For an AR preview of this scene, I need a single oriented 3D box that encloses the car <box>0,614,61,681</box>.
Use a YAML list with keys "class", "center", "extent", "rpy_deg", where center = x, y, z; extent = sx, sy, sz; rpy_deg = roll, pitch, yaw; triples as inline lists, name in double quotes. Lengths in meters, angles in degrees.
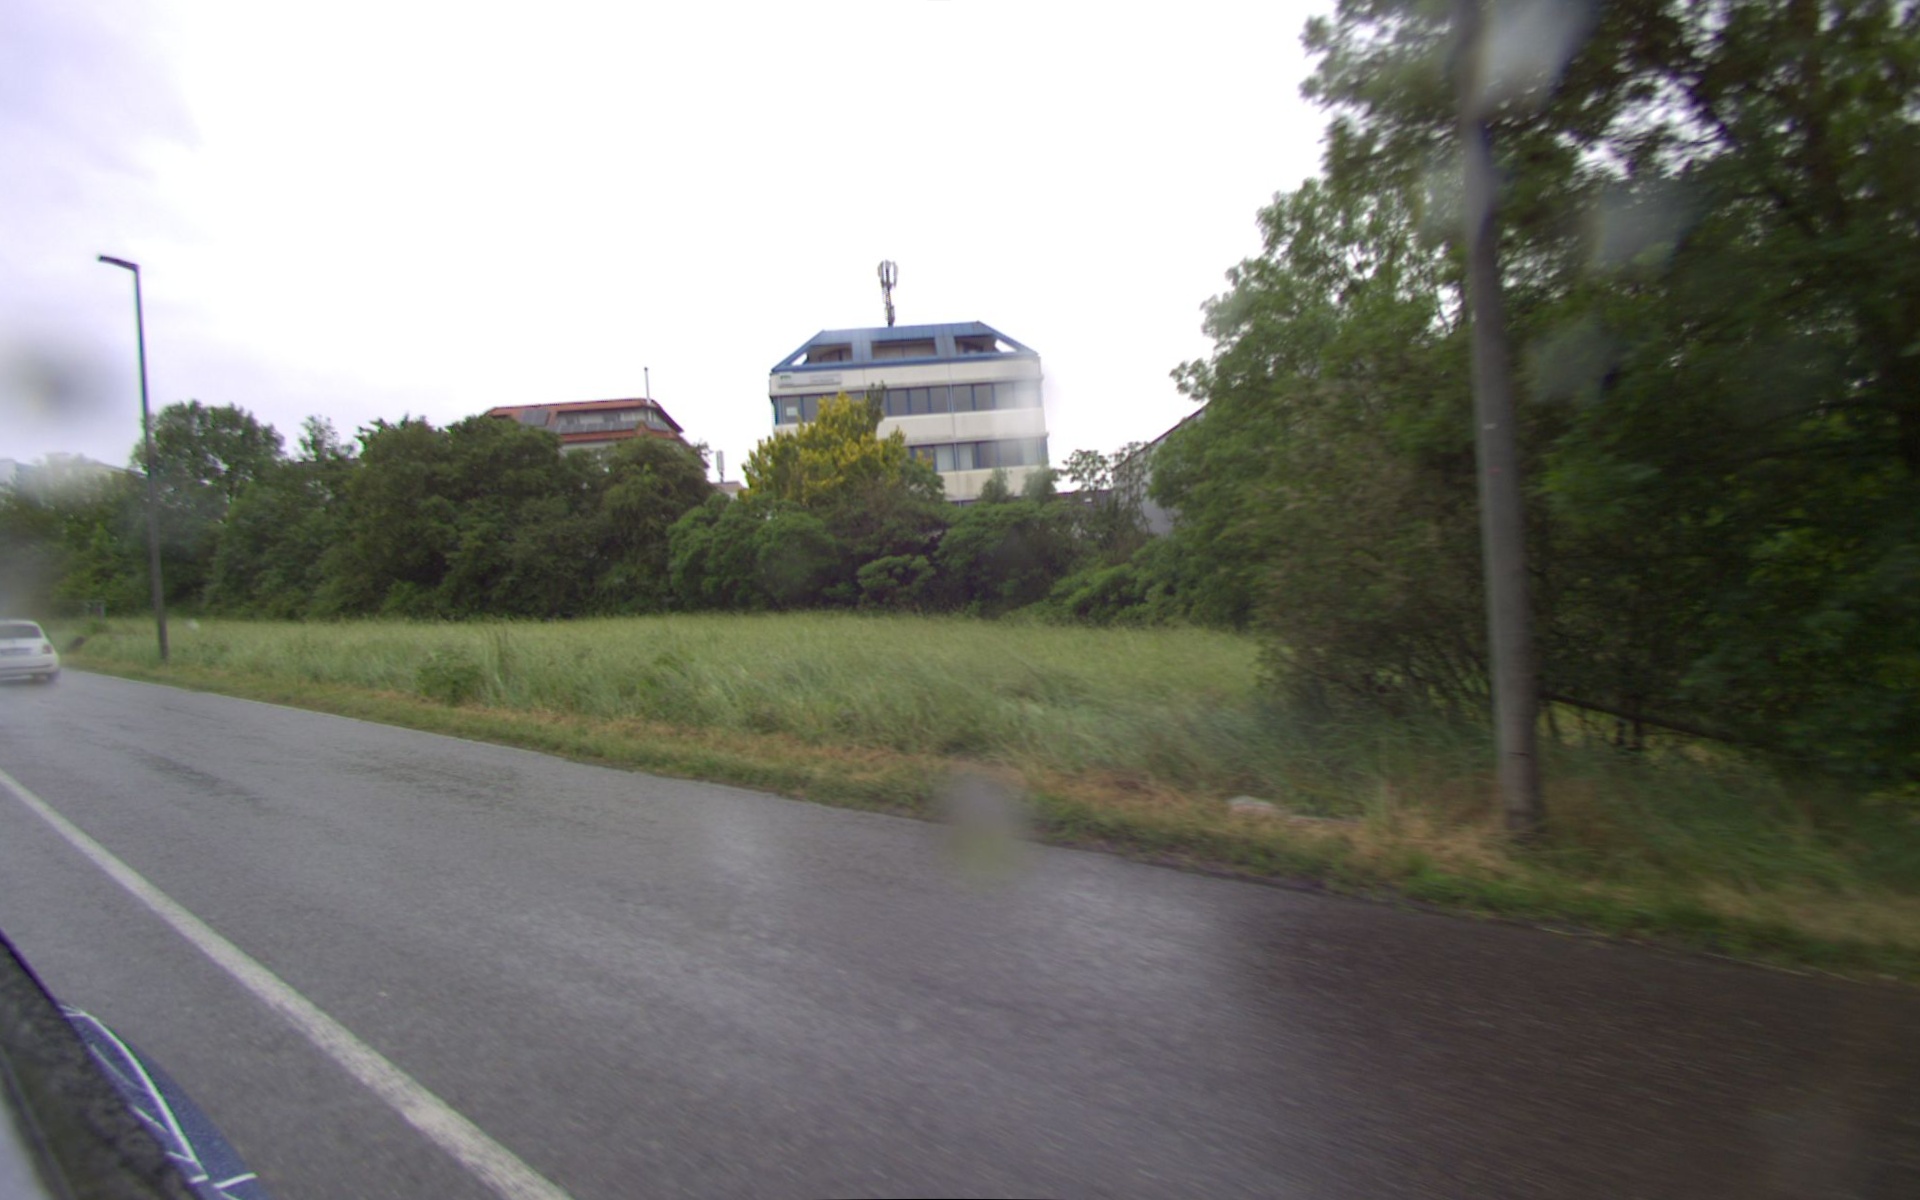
- class: "car"
  center: [-22.984, 1.102, 24.283]
  extent: [3.451, 1.499, 1.623]
  rpy_deg: [-1, 0, 40]
